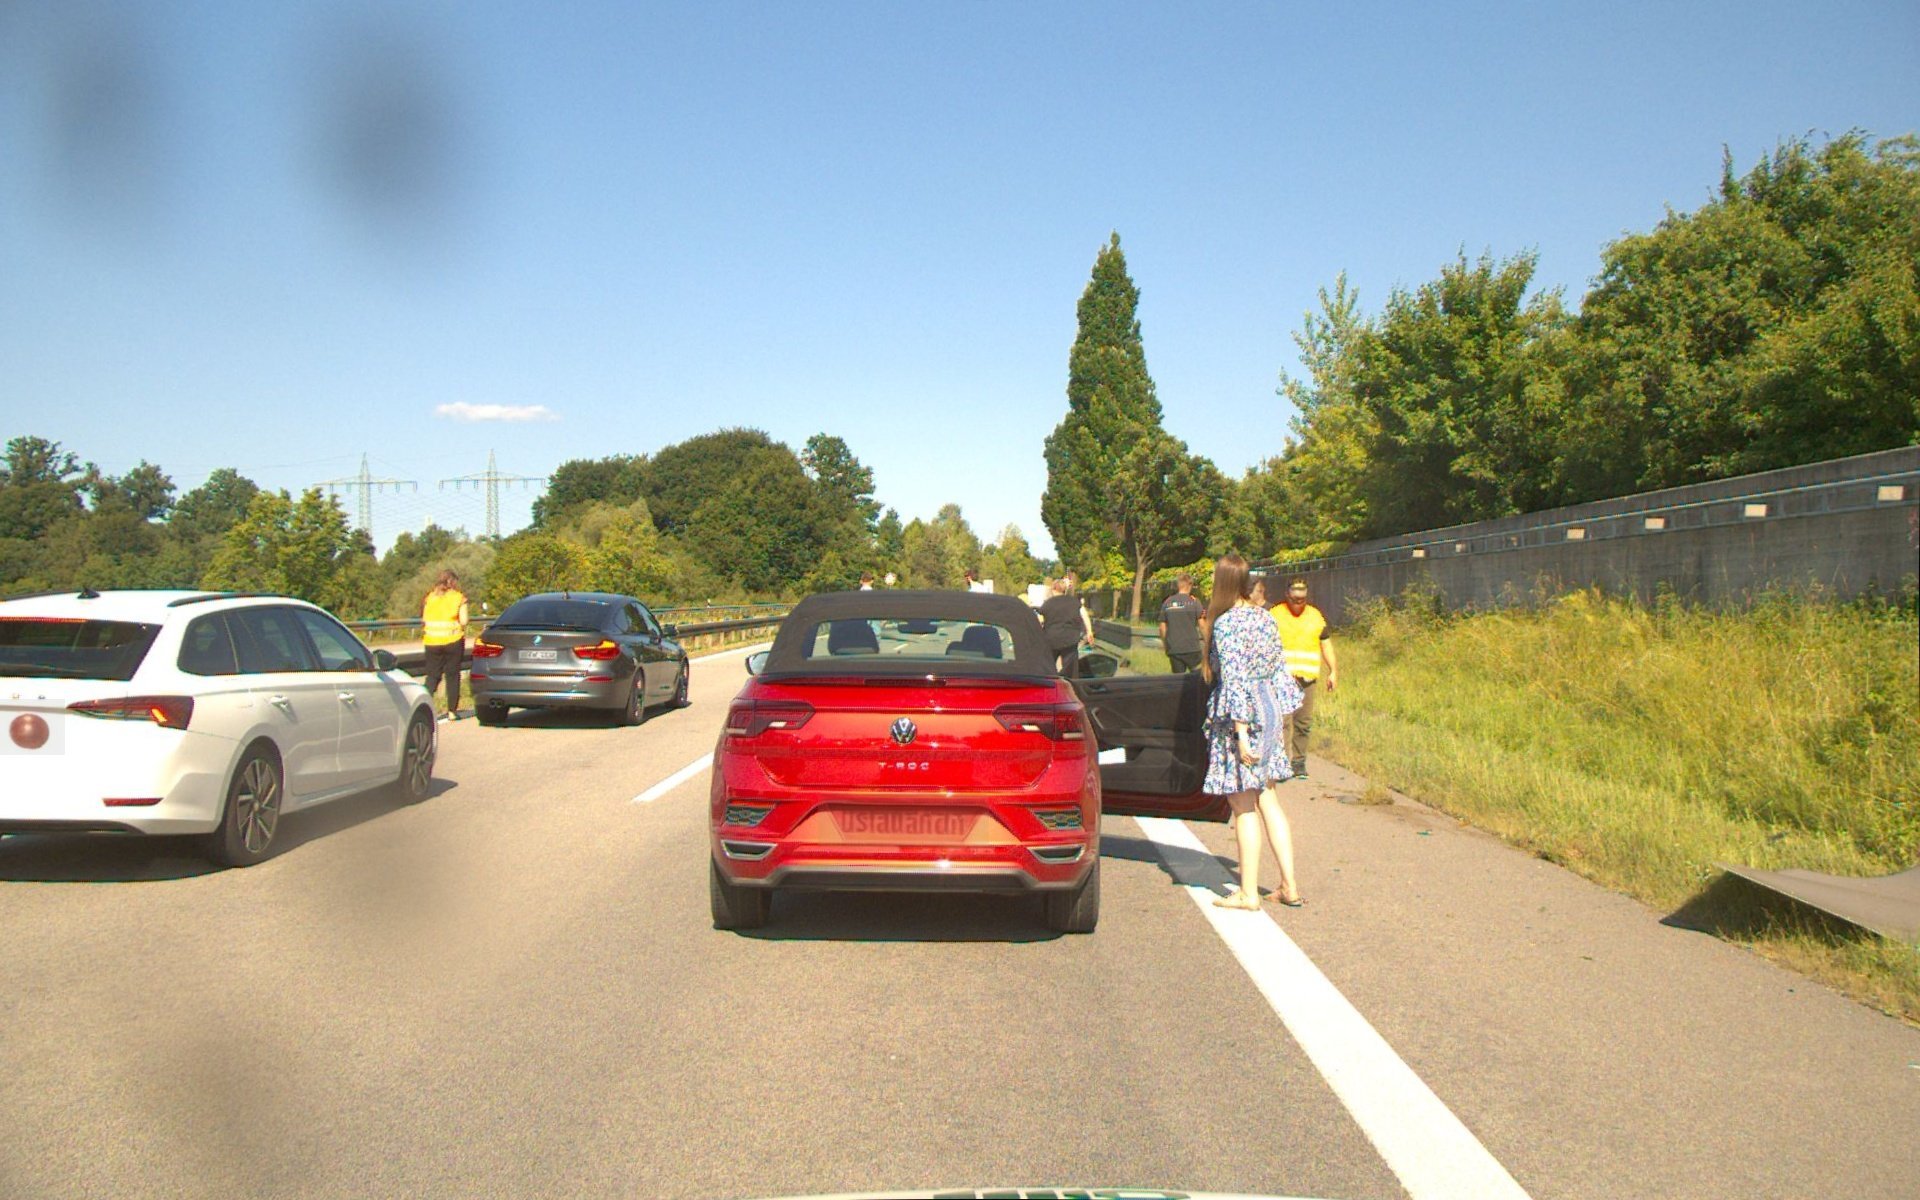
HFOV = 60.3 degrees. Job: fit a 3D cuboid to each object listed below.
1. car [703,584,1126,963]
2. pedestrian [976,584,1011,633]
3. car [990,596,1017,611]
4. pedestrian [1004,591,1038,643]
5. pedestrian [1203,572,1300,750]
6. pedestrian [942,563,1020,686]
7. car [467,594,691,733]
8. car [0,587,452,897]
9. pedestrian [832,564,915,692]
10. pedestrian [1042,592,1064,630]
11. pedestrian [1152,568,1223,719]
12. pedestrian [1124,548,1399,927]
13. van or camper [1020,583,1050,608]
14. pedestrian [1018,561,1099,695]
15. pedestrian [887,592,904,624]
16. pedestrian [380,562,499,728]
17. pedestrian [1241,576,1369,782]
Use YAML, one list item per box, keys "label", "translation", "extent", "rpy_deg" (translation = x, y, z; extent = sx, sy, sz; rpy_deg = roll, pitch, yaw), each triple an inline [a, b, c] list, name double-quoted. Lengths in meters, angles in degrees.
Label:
- label: "car"
  translation: [-0.180, 0.697, 8.820]
  extent: [1.697, 1.513, 4.210]
  rpy_deg: [1, 0, 0]
- label: "pedestrian"
  translation: [1.202, 0.312, 59.538]
  extent: [1.093, 1.719, 0.971]
  rpy_deg: [1, 0, -10]
- label: "car"
  translation: [4.276, 0.340, 162.201]
  extent: [1.696, 1.513, 4.213]
  rpy_deg: [1, 0, 16]
- label: "pedestrian"
  translation: [2.055, 0.557, 55.210]
  extent: [1.033, 1.719, 1.018]
  rpy_deg: [1, 0, 7]
- label: "pedestrian"
  translation: [2.959, 0.606, 16.856]
  extent: [0.876, 1.755, 0.755]
  rpy_deg: [1, -1, 4]
- label: "pedestrian"
  translation: [0.334, 0.391, 27.130]
  extent: [1.085, 1.946, 1.255]
  rpy_deg: [-1, 0, -8]
- label: "car"
  translation: [-4.414, 0.671, 19.801]
  extent: [1.660, 1.451, 4.334]
  rpy_deg: [1, 0, 0]
- label: "car"
  translation: [-4.565, 0.668, 10.013]
  extent: [1.660, 1.467, 4.210]
  rpy_deg: [1, 0, 0]
- label: "pedestrian"
  translation: [-1.263, 0.405, 24.441]
  extent: [1.081, 1.820, 1.092]
  rpy_deg: [1, 0, 3]
- label: "pedestrian"
  translation: [4.296, 0.493, 75.996]
  extent: [0.975, 1.719, 1.011]
  rpy_deg: [1, 0, 3]
- label: "pedestrian"
  translation: [2.783, 0.518, 20.177]
  extent: [0.794, 1.790, 0.829]
  rpy_deg: [1, -1, 9]
- label: "pedestrian"
  translation: [1.471, 0.620, 8.229]
  extent: [0.878, 1.725, 1.121]
  rpy_deg: [-1, 0, -23]
- label: "van or camper"
  translation: [7.367, -0.456, 161.106]
  extent: [1.951, 2.356, 4.473]
  rpy_deg: [1, 0, 15]
- label: "pedestrian"
  translation: [1.453, 0.407, 24.595]
  extent: [1.068, 1.915, 1.068]
  rpy_deg: [-2, 0, -1]
- label: "pedestrian"
  translation: [-3.502, 0.417, 89.891]
  extent: [0.775, 1.719, 0.793]
  rpy_deg: [1, -1, 5]
- label: "pedestrian"
  translation: [-5.847, 0.488, 18.646]
  extent: [1.020, 1.794, 1.117]
  rpy_deg: [-1, 0, -5]
- label: "pedestrian"
  translation: [2.942, 0.650, 14.218]
  extent: [0.937, 1.682, 1.279]
  rpy_deg: [-1, 0, 6]
